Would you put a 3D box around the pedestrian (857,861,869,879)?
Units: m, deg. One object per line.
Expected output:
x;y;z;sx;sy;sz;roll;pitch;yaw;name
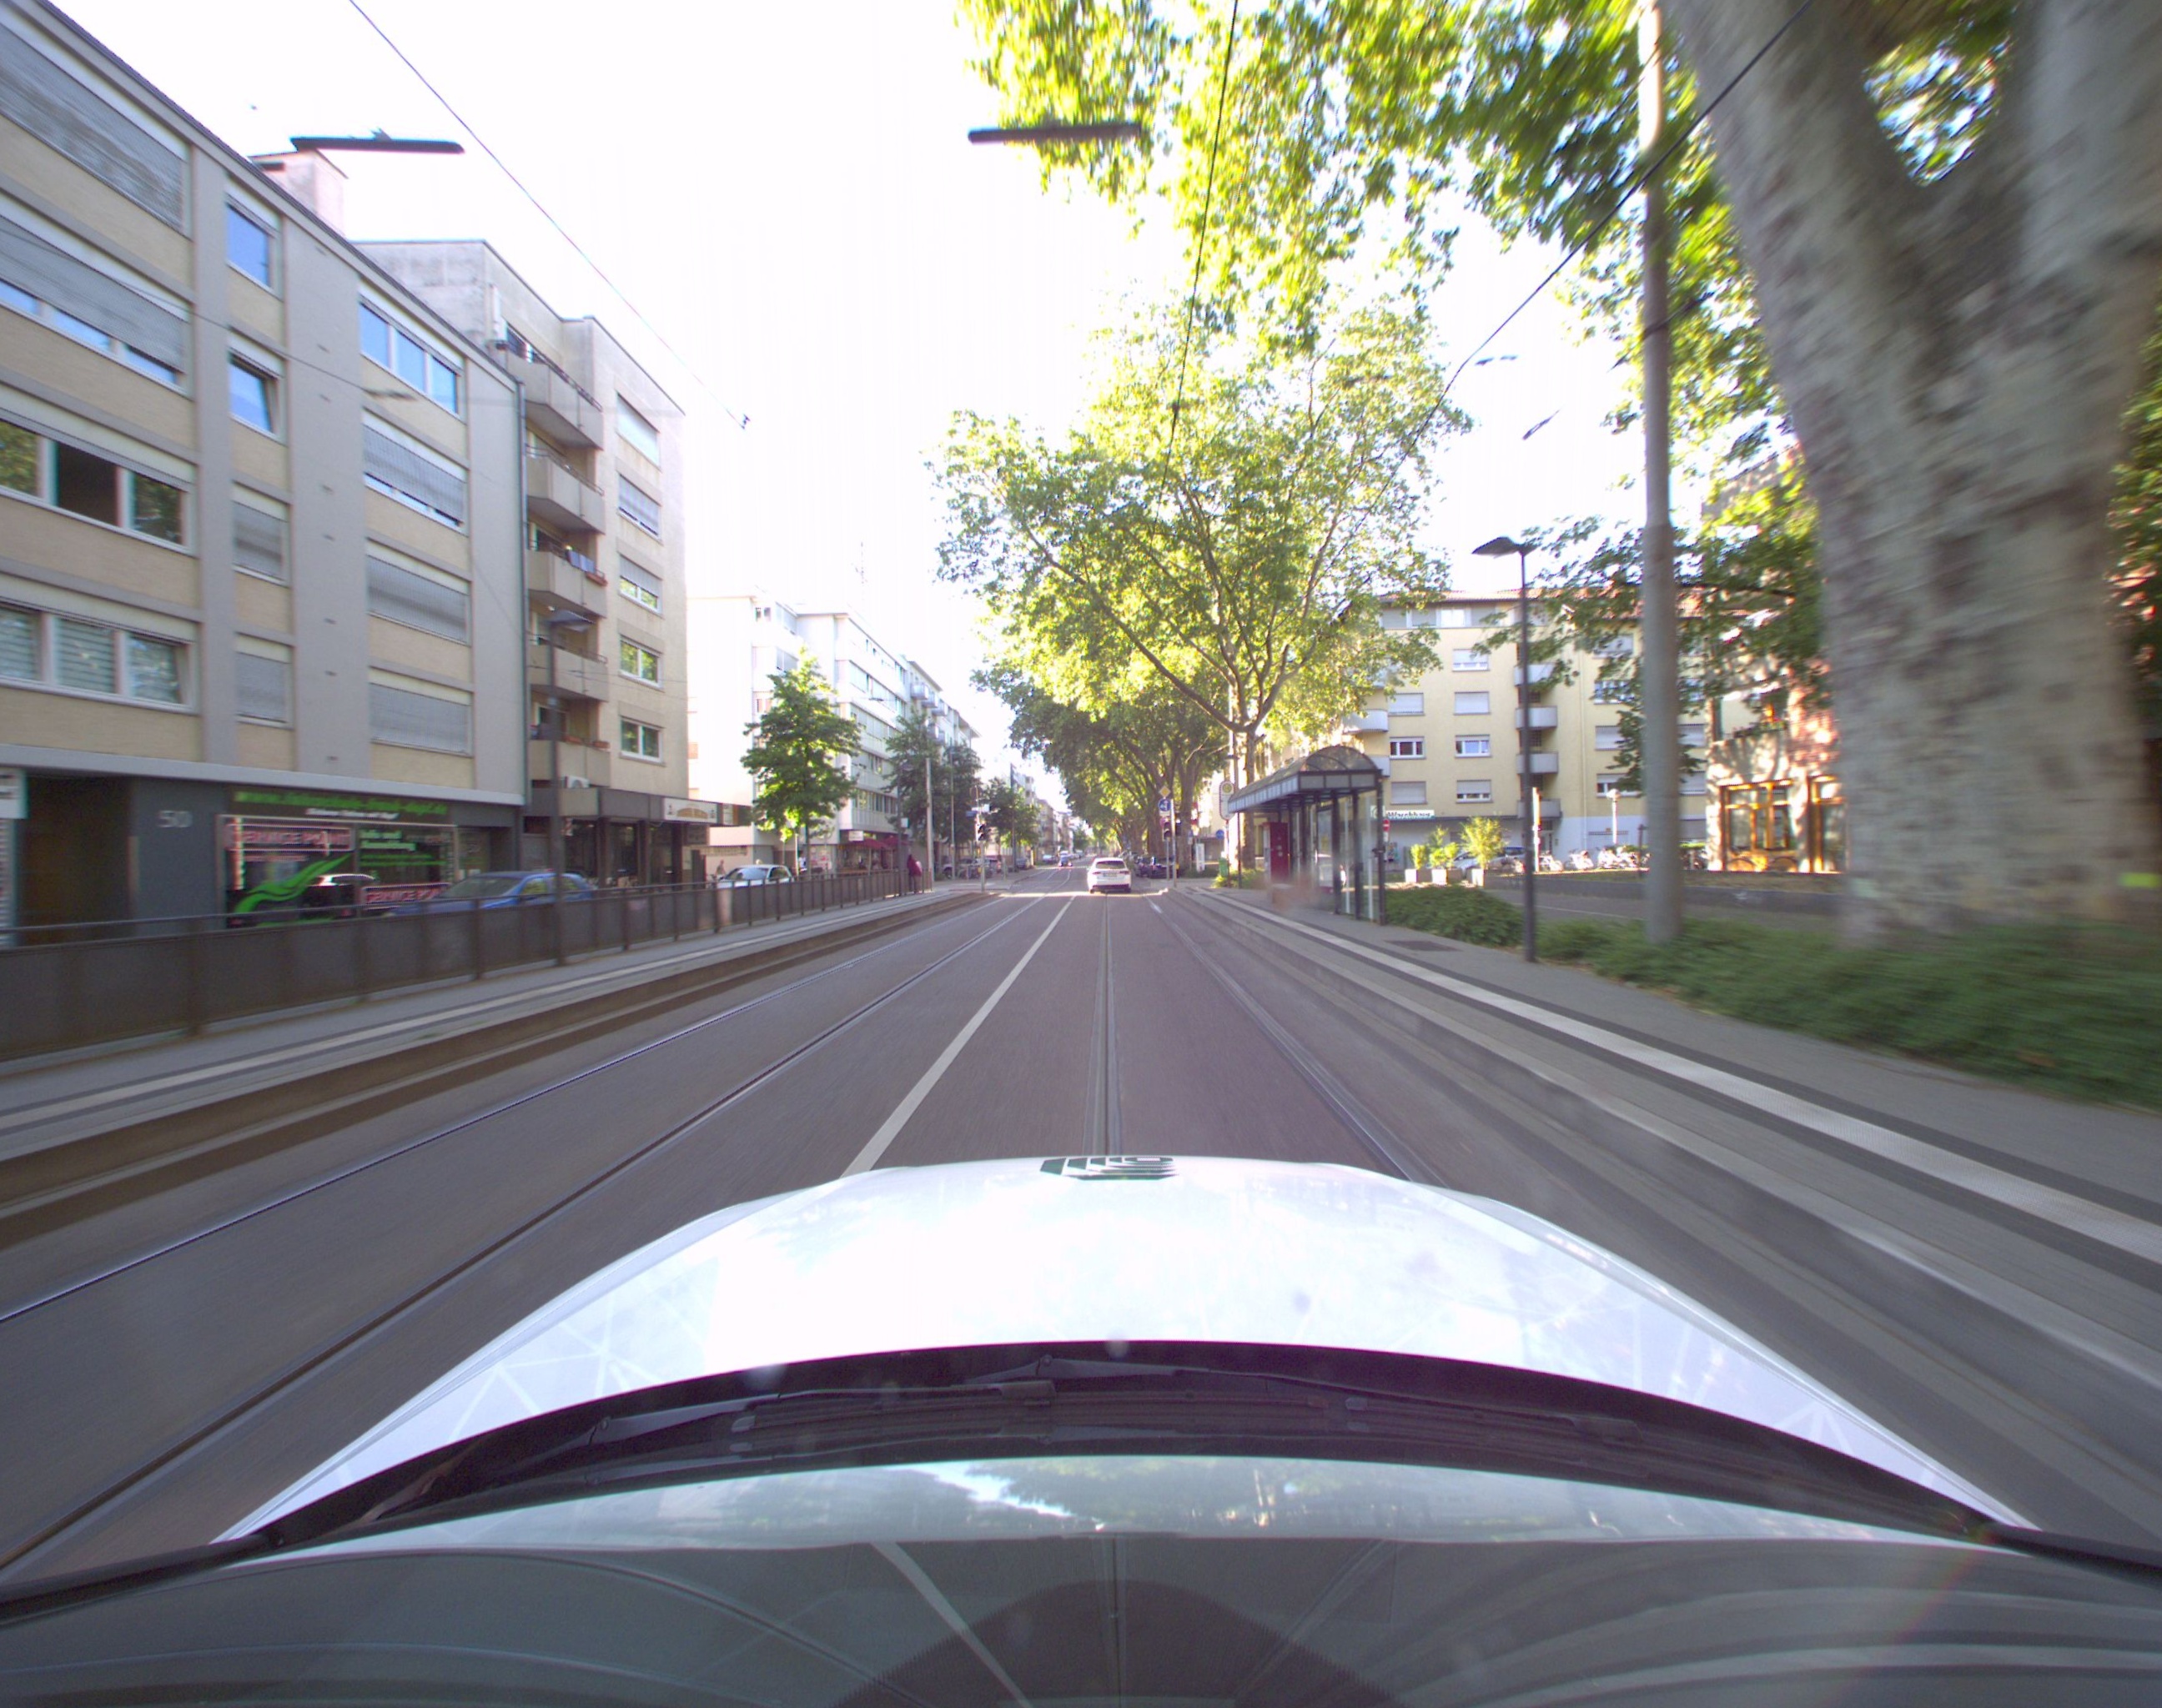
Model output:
-14.735;1.079;55.034;0.566;1.198;0.508;-2;0;-34;pedestrian

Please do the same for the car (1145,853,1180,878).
5.211;0.706;52.779;1.759;1.462;5.011;-1;0;0;car

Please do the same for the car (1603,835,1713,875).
27.074;0.042;38.303;3.848;1.693;1.866;-2;0;1;car

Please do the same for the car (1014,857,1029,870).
-7.099;1.125;97.239;1.711;1.464;3.992;2;0;-5;car

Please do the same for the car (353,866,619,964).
-11.585;1.095;16.339;1.949;1.544;4.390;-2;0;2;car

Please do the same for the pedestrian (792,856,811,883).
-17.255;0.938;50.277;0.741;1.659;0.772;-2;0;15;pedestrian

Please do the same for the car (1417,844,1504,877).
20.532;0.326;44.119;3.848;1.552;1.867;-2;2;1;car

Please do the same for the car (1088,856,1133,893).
1.187;0.822;34.124;1.756;1.384;4.000;-2;0;0;car

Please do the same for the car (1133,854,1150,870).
5.886;0.774;79.656;1.557;1.519;2.913;-3;-1;4;car

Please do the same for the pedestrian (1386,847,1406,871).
18.944;0.289;49.004;0.838;1.415;0.767;-2;0;-7;pedestrian

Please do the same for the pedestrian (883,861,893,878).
-13.908;1.141;58.607;0.514;1.198;0.558;-2;0;-28;pedestrian

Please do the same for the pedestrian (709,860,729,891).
-20.136;1.169;45.277;0.756;1.671;0.768;-2;0;-4;pedestrian

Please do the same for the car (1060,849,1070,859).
-4.280;-0.006;221.798;2.334;2.861;4.002;-1;0;2;car

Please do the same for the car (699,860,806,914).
-11.395;1.087;28.574;1.871;1.651;4.358;-2;0;1;car

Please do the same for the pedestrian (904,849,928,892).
-6.100;0.602;30.115;0.651;1.585;0.773;-1;0;2;pedestrian

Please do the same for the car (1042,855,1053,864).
-6.000;0.952;146.605;1.697;1.650;4.241;1;0;0;car

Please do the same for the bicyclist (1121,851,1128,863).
5.155;0.389;96.657;0.676;1.443;1.047;-2;0;2;bicyclist

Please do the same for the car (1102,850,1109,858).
7.710;-0.036;255.992;2.194;2.388;4.002;-1;0;2;car

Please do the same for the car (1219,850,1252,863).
21.220;0.326;112.224;4.123;1.593;1.997;-1;0;-4;car

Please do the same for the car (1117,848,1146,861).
11.190;0.138;181.232;6.111;2.635;2.528;-1;0;-1;car

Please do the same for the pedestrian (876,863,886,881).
-13.856;1.245;56.358;0.509;1.198;0.564;-2;0;3;pedestrian

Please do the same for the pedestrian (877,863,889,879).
-14.890;1.260;61.271;0.670;1.198;0.655;-2;0;0;pedestrian

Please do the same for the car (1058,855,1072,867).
-2.178;1.026;115.034;1.865;1.590;4.146;1;0;0;car

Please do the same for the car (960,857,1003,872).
-9.841;1.042;80.815;4.001;1.475;1.851;0;-1;-1;car

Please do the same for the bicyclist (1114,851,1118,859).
6.366;0.192;146.691;0.647;1.344;0.934;-2;0;0;bicyclist

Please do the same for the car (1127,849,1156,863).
9.985;0.338;134.237;4.530;2.076;2.000;-1;0;-1;car

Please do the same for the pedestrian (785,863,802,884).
-17.372;1.154;49.221;0.752;1.241;0.761;-2;0;-32;pedestrian

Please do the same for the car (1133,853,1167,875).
4.868;0.682;57.804;1.859;1.437;4.223;-2;0;-2;car

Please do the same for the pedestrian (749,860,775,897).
-14.071;1.072;35.932;0.720;1.556;0.728;-2;0;10;pedestrian

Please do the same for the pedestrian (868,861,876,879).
-14.042;1.061;54.673;0.512;1.198;0.561;-2;0;-15;pedestrian

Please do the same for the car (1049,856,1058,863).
-5.528;1.128;162.171;1.648;1.437;3.836;-1;0;0;car

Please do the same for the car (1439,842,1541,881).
19.147;0.341;38.252;3.848;1.693;1.866;-2;0;1;car

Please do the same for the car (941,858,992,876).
-9.716;1.076;69.175;3.997;1.475;1.852;0;-1;2;car

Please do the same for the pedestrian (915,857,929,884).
-9.597;0.996;49.155;0.723;1.556;0.768;-2;0;-4;pedestrian

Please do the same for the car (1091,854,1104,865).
2.436;0.812;119.973;1.755;1.475;4.002;-2;0;2;car
